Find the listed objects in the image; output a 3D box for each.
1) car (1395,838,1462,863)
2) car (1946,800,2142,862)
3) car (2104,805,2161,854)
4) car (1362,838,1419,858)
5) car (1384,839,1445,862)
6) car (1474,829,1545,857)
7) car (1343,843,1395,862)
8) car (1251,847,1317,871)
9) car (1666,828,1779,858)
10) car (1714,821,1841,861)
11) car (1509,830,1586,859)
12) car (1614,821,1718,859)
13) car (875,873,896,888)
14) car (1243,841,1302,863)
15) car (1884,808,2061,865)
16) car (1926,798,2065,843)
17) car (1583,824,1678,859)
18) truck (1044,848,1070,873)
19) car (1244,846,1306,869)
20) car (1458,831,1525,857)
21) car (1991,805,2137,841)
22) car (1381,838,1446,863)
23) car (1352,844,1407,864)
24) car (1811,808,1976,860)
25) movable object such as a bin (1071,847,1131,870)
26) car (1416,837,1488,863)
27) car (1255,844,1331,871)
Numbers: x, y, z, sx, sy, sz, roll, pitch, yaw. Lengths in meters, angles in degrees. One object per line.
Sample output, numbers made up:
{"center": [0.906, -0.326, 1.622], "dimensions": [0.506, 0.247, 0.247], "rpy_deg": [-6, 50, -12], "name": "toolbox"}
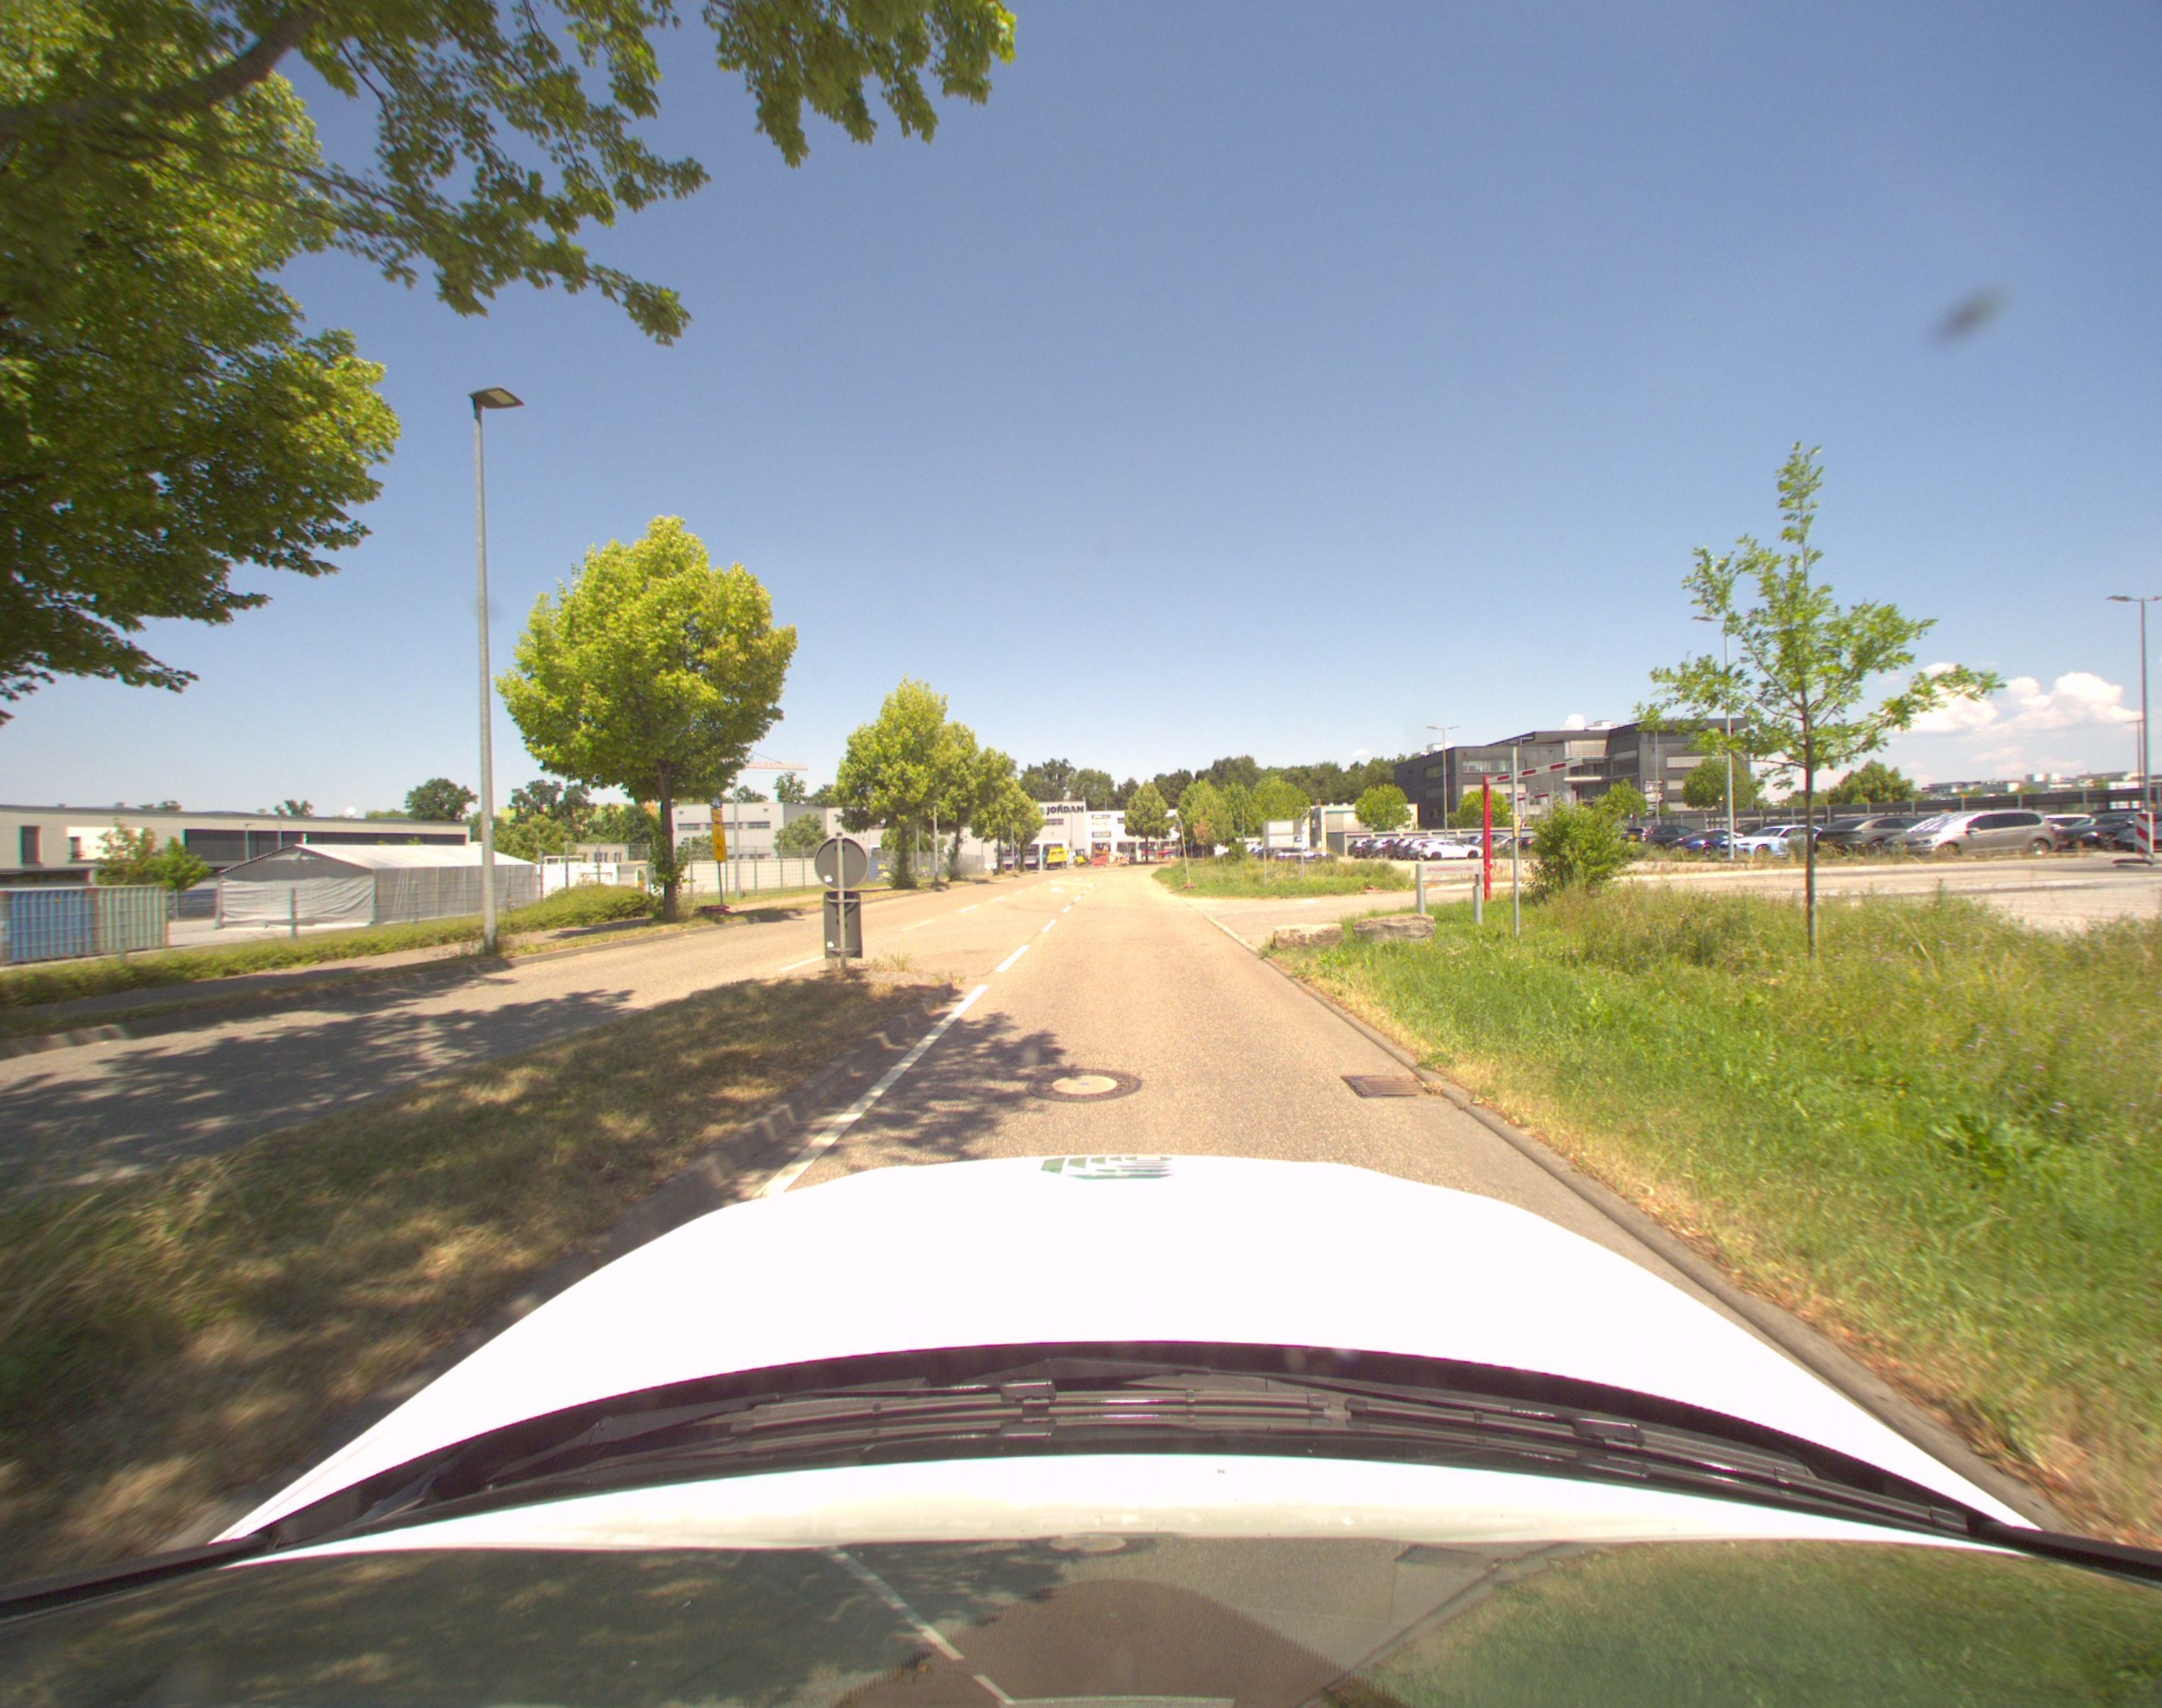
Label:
{"center": [24.446, -0.253, 57.350], "dimensions": [3.975, 1.400, 1.768], "rpy_deg": [-3, 3, -1], "name": "car"}
{"center": [29.294, -0.730, 24.854], "dimensions": [3.975, 1.595, 1.768], "rpy_deg": [-3, 3, -1], "name": "car"}
{"center": [39.561, -0.951, 29.068], "dimensions": [3.975, 1.595, 1.768], "rpy_deg": [-3, 3, -1], "name": "car"}
{"center": [25.373, -0.497, 66.847], "dimensions": [3.975, 1.400, 1.768], "rpy_deg": [-3, 3, -1], "name": "car"}
{"center": [25.642, -0.306, 62.654], "dimensions": [3.975, 1.461, 1.768], "rpy_deg": [-3, 3, -1], "name": "car"}
{"center": [29.415, -0.777, 55.991], "dimensions": [3.975, 1.595, 1.768], "rpy_deg": [-3, 3, -1], "name": "car"}
{"center": [25.652, -0.146, 72.635], "dimensions": [3.975, 1.400, 1.768], "rpy_deg": [-3, 3, -1], "name": "car"}
{"center": [14.316, 0.328, 57.521], "dimensions": [4.150, 1.400, 1.768], "rpy_deg": [-3, 3, -1], "name": "car"}
{"center": [30.001, -0.540, 38.153], "dimensions": [3.975, 1.108, 1.768], "rpy_deg": [-3, 3, -1], "name": "car"}
{"center": [29.622, -0.575, 34.712], "dimensions": [3.975, 1.392, 1.768], "rpy_deg": [-3, 3, -1], "name": "car"}
{"center": [30.381, -0.658, 53.115], "dimensions": [3.975, 1.595, 1.768], "rpy_deg": [-3, 3, -1], "name": "car"}
{"center": [29.627, -0.738, 41.294], "dimensions": [3.975, 1.595, 1.861], "rpy_deg": [-3, 3, -1], "name": "car"}
{"center": [-26.066, 3.499, 108.888], "dimensions": [1.990, 1.551, 3.995], "rpy_deg": [-3, 3, -4], "name": "car"}
{"center": [14.750, -0.145, 62.892], "dimensions": [4.150, 1.400, 1.768], "rpy_deg": [-3, 3, -1], "name": "car"}
{"center": [29.349, -0.599, 26.892], "dimensions": [3.975, 1.595, 1.768], "rpy_deg": [-3, 3, -1], "name": "car"}
{"center": [39.932, -1.485, 35.625], "dimensions": [3.976, 1.683, 1.999], "rpy_deg": [-3, 3, -2], "name": "car"}
{"center": [29.809, -0.690, 44.217], "dimensions": [3.975, 1.595, 1.768], "rpy_deg": [-3, 3, -1], "name": "car"}
{"center": [-3.338, 0.774, 110.392], "dimensions": [2.935, 2.885, 5.799], "rpy_deg": [-4, 3, -6], "name": "truck"}
{"center": [14.453, 0.251, 60.805], "dimensions": [4.150, 1.400, 1.768], "rpy_deg": [-3, 3, -1], "name": "car"}
{"center": [29.581, -0.763, 58.759], "dimensions": [3.975, 1.595, 1.768], "rpy_deg": [-3, 3, -1], "name": "car"}
{"center": [39.614, -1.256, 32.871], "dimensions": [3.976, 1.192, 1.731], "rpy_deg": [-3, 3, -2], "name": "car"}
{"center": [24.291, -0.257, 59.562], "dimensions": [3.975, 1.490, 1.768], "rpy_deg": [-3, 3, -1], "name": "car"}
{"center": [25.378, 0.012, 69.355], "dimensions": [3.975, 1.400, 1.768], "rpy_deg": [-3, 3, -1], "name": "car"}
{"center": [29.548, -0.769, 29.709], "dimensions": [4.353, 1.595, 1.768], "rpy_deg": [-3, 3, -1], "name": "car"}
{"center": [2.765, 0.598, 109.803], "dimensions": [7.479, 2.499, 3.678], "rpy_deg": [-3, 3, 10], "name": "movable object such as a bin"}
{"center": [24.752, -0.290, 54.453], "dimensions": [3.974, 1.400, 1.769], "rpy_deg": [-3, 3, 0], "name": "car"}
{"center": [14.235, 0.223, 54.818], "dimensions": [4.682, 1.400, 1.924], "rpy_deg": [-3, 3, 4], "name": "car"}
